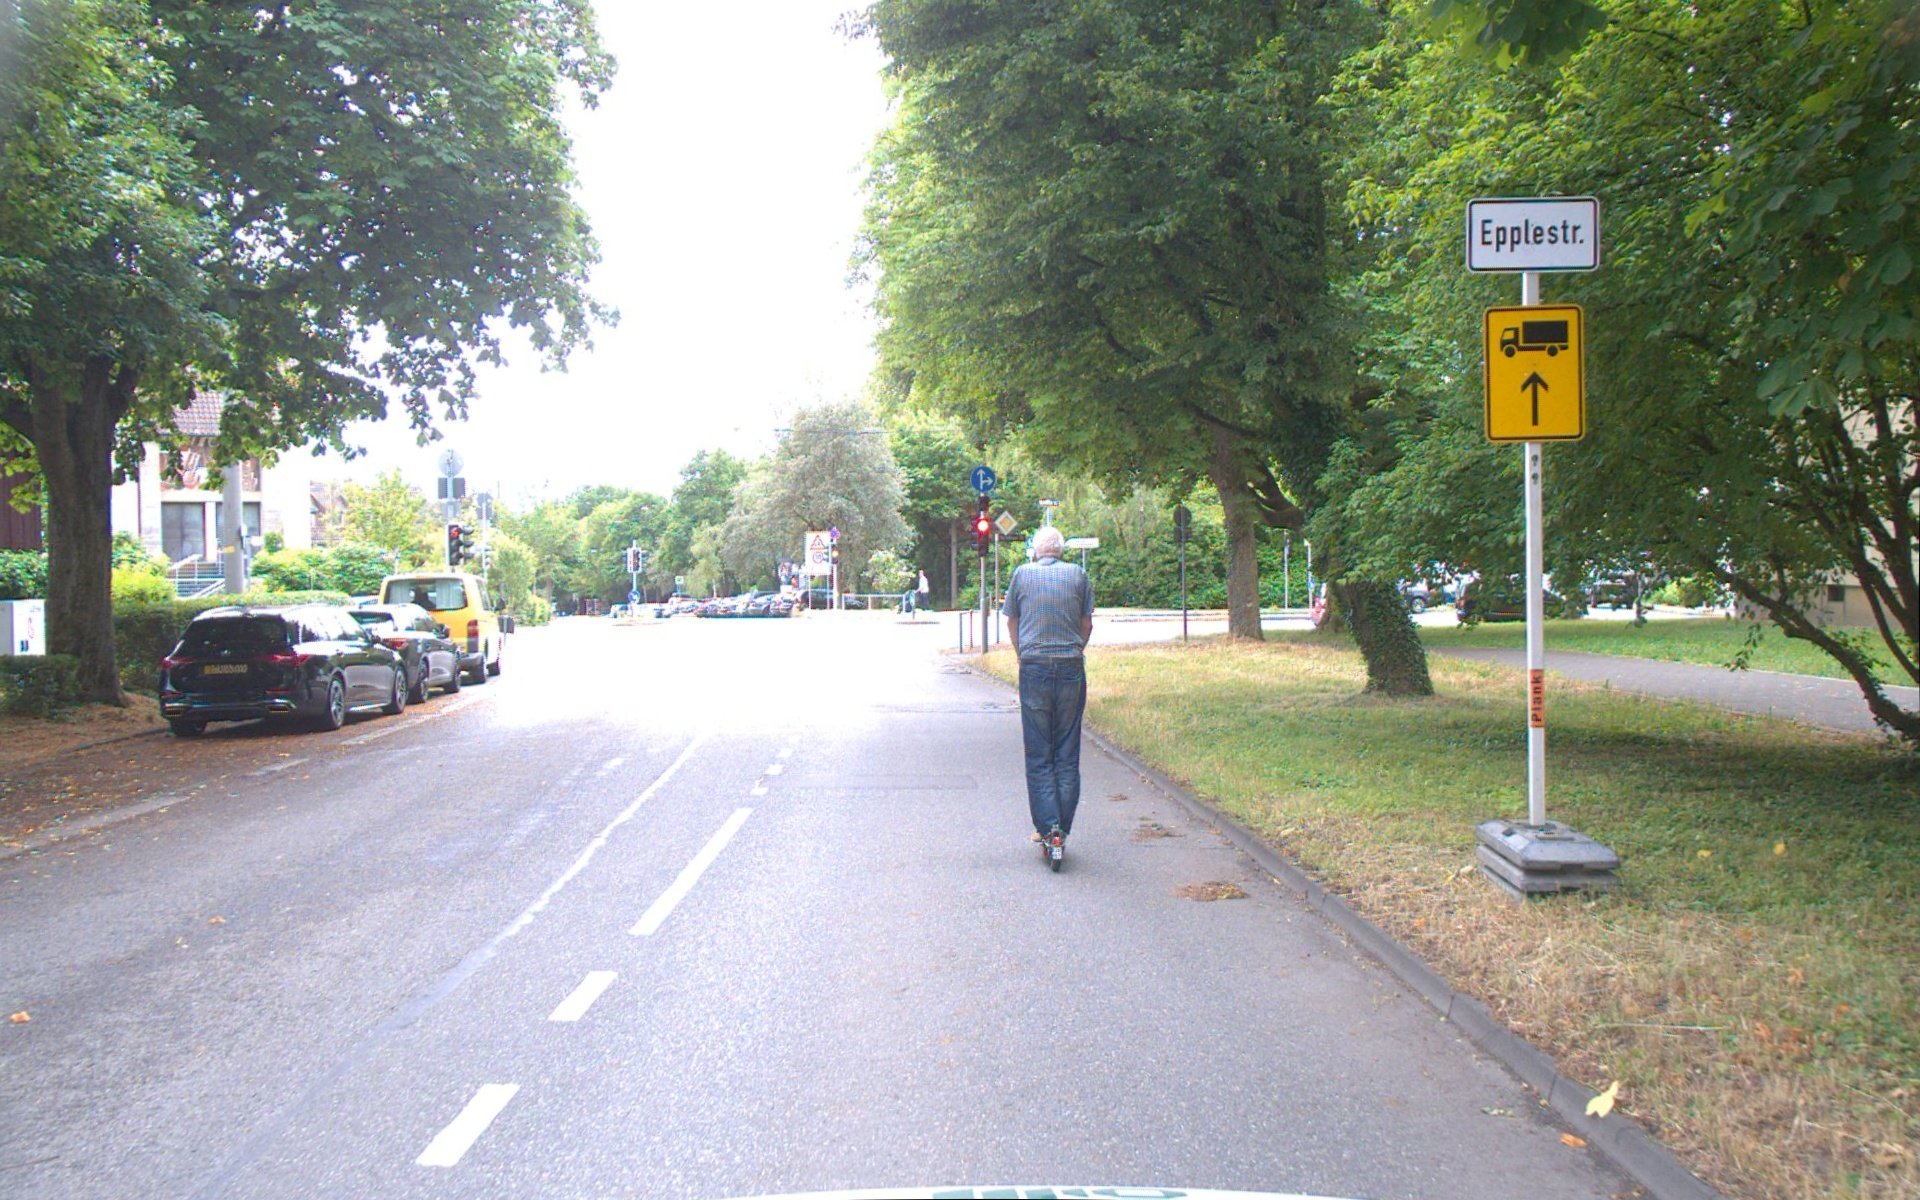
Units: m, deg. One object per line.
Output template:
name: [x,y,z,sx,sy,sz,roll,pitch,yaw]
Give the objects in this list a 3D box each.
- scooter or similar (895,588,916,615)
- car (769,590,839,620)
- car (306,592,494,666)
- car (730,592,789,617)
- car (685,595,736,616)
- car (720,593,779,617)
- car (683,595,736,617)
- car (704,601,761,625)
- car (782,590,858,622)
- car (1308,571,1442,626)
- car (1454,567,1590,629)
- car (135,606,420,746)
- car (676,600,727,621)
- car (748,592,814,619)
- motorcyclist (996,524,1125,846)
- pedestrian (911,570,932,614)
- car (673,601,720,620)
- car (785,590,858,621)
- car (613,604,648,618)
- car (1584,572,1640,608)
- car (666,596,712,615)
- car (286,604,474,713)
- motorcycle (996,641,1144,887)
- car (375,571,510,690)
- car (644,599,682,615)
scooter or similar: [-2.268,0.055,68.867,0.695,1.067,0.788,-2,0,14]
car: [-8.929,0.289,94.478,3.912,1.536,1.797,-2,0,-8]
car: [-13.101,0.650,38.903,3.916,1.536,1.796,-1,2,-11]
car: [-13.542,0.302,111.640,3.912,1.536,1.797,-2,0,-8]
car: [-19.758,0.440,131.091,3.912,1.536,1.797,-2,0,-8]
car: [-14.434,0.332,113.455,3.912,1.536,1.797,-2,0,-8]
car: [-19.290,0.434,127.403,3.912,1.536,1.797,-2,0,-8]
car: [-16.124,0.893,117.291,3.912,1.536,1.797,-2,0,-8]
car: [-7.424,0.326,87.465,3.912,1.536,1.797,-2,0,-8]
car: [13.061,-0.064,52.194,3.902,1.584,1.802,0,3,7]
car: [17.356,-0.082,51.120,3.904,1.756,1.801,1,4,20]
car: [-8.085,0.824,20.080,1.855,1.435,4.549,-2,0,-5]
car: [-20.828,0.863,133.368,3.912,1.536,1.797,-2,0,-8]
car: [-10.968,0.327,101.138,3.912,1.536,1.797,-2,0,-8]
motorcyclist: [0.570,0.472,9.543,0.659,1.792,0.638,0,0,-4]
pedestrian: [-1.593,-0.314,68.552,0.716,1.792,0.662,-2,0,14]
car: [-23.009,0.903,144.545,3.912,1.536,1.797,-2,0,-8]
car: [-7.632,0.288,91.037,3.912,1.536,1.797,-2,0,-8]
car: [-39.651,1.273,198.971,3.912,1.536,1.797,-2,0,-8]
car: [29.772,-0.464,75.617,2.039,1.536,4.002,-2,0,17]
car: [-24.155,0.515,147.569,3.912,1.536,1.797,-2,0,-8]
car: [-8.754,0.821,25.303,1.760,1.440,4.184,-2,0,-6]
motorcycle: [0.587,0.870,9.269,0.659,1.239,1.273,0,0,-4]
car: [-9.565,0.541,30.889,1.824,1.998,4.493,-2,0,-11]
car: [-31.826,0.747,177.364,3.912,1.536,1.797,-2,0,-8]
